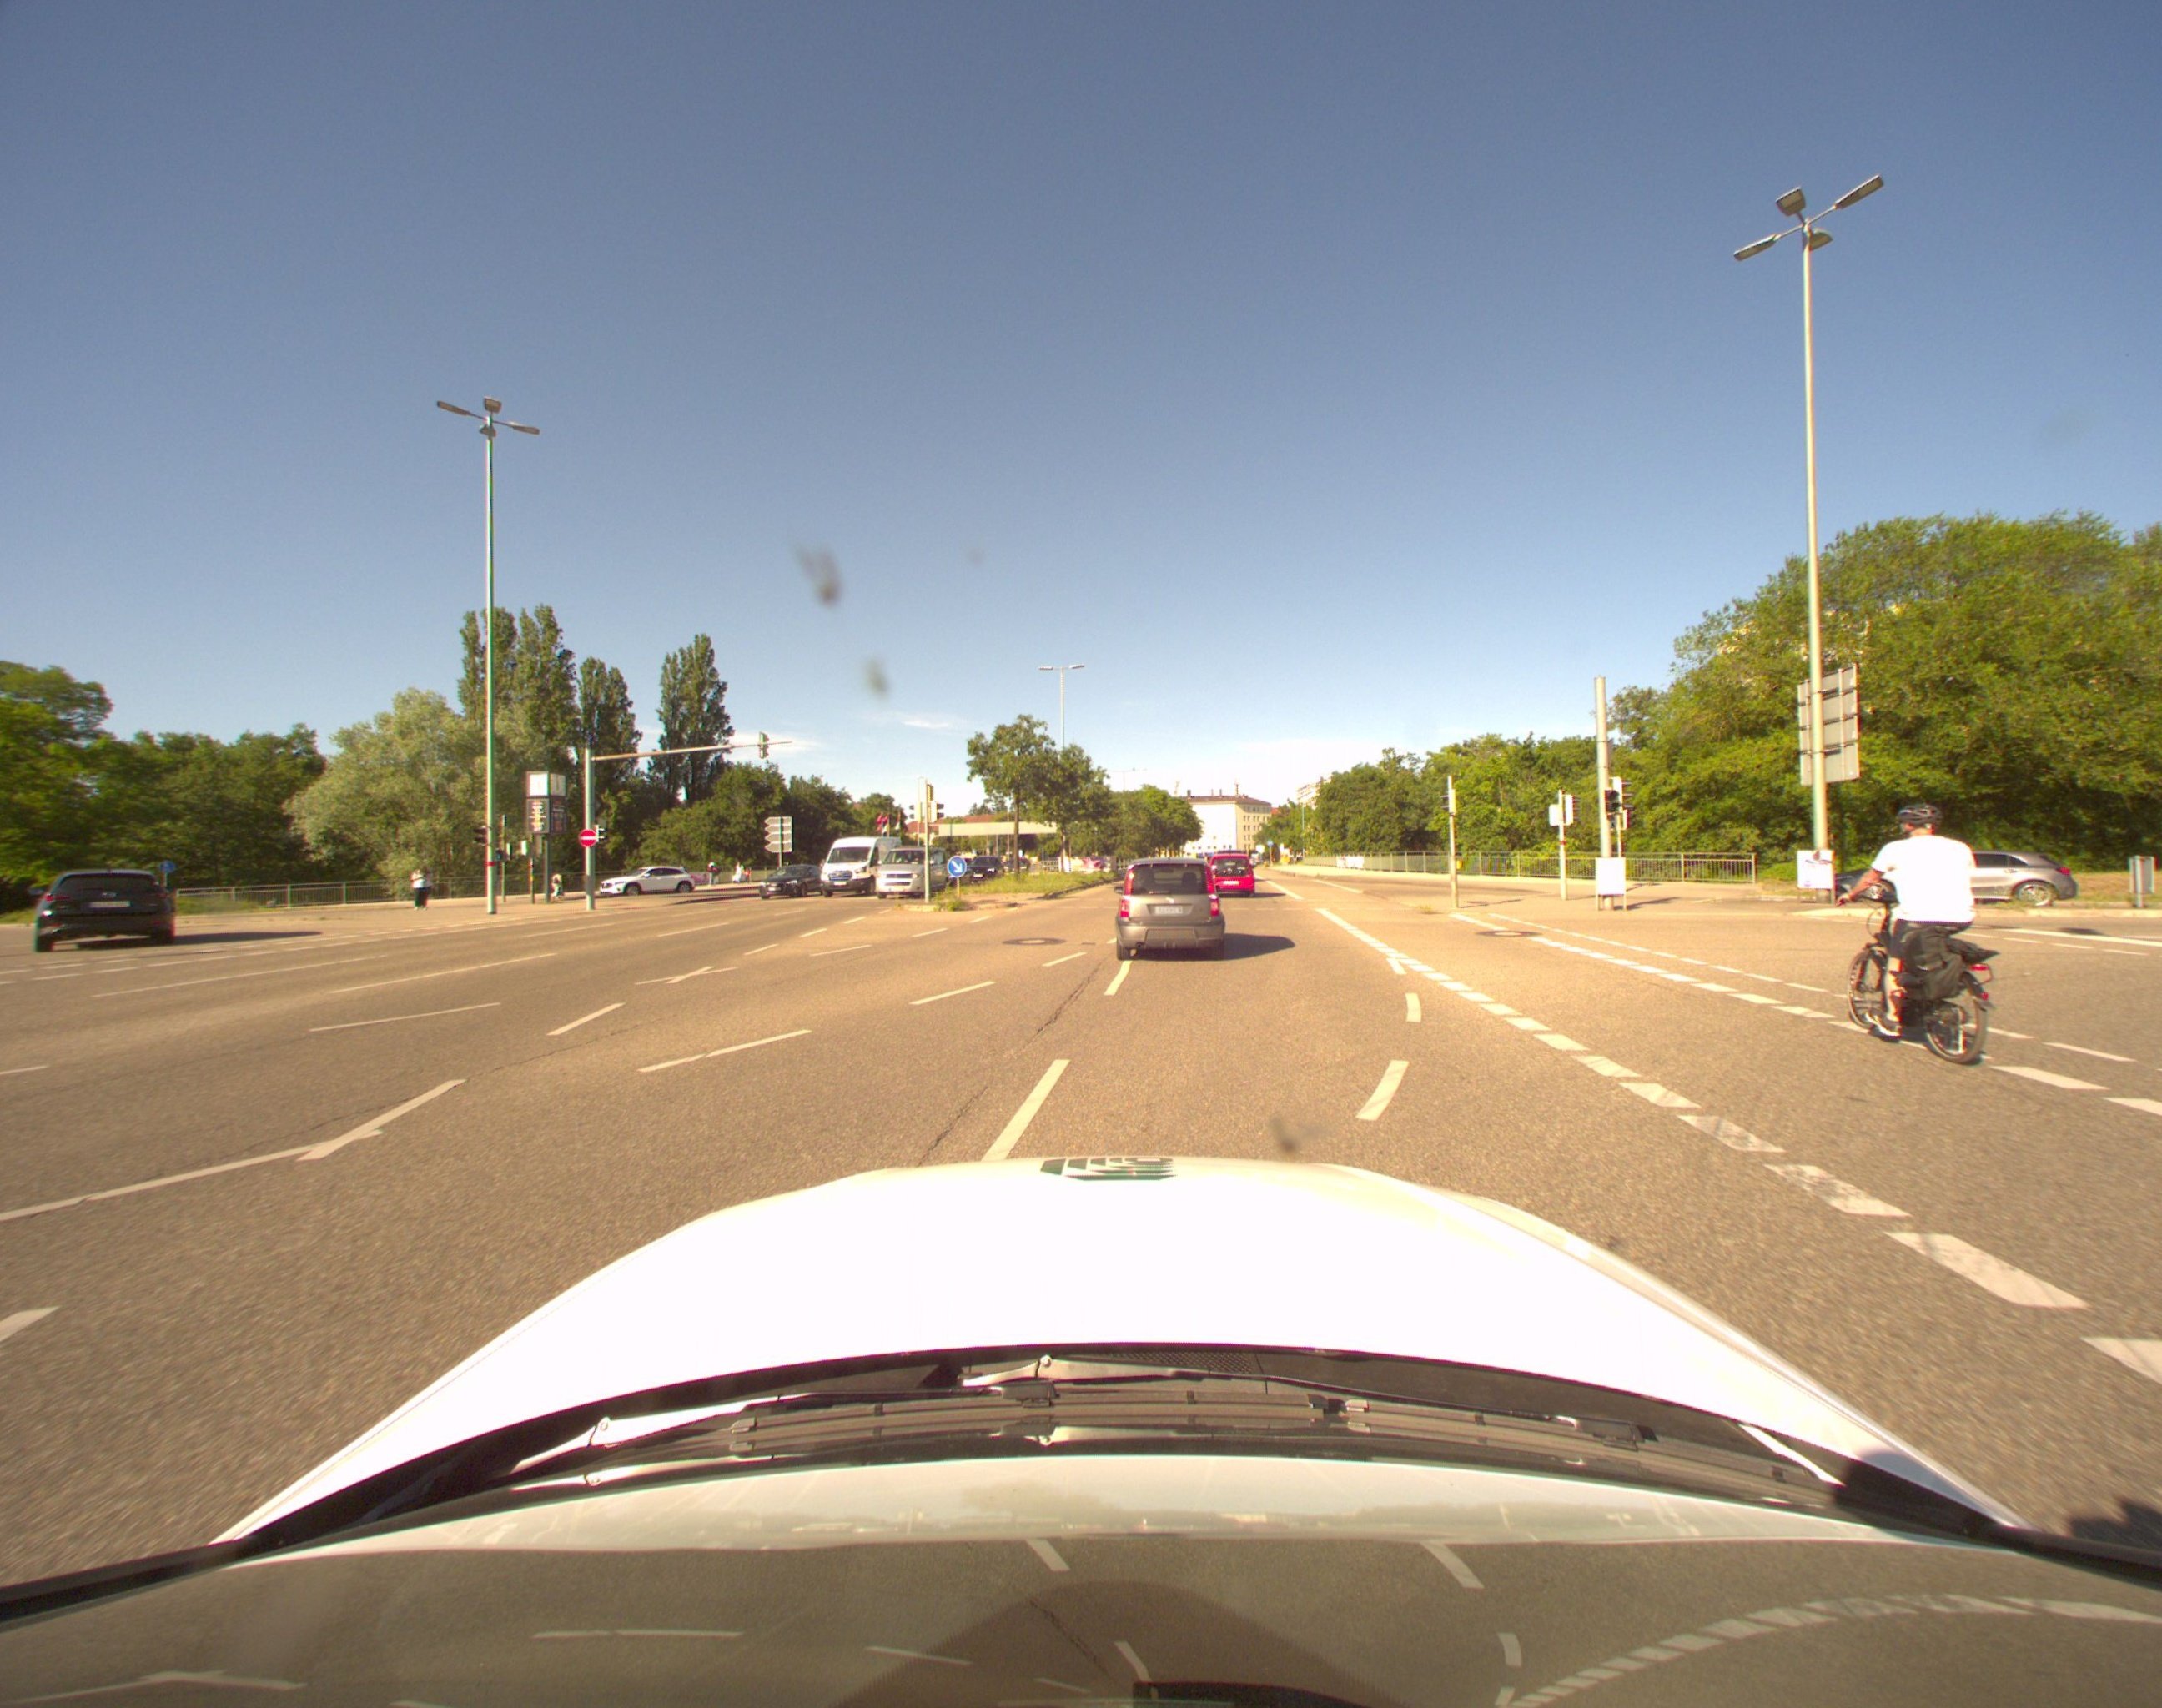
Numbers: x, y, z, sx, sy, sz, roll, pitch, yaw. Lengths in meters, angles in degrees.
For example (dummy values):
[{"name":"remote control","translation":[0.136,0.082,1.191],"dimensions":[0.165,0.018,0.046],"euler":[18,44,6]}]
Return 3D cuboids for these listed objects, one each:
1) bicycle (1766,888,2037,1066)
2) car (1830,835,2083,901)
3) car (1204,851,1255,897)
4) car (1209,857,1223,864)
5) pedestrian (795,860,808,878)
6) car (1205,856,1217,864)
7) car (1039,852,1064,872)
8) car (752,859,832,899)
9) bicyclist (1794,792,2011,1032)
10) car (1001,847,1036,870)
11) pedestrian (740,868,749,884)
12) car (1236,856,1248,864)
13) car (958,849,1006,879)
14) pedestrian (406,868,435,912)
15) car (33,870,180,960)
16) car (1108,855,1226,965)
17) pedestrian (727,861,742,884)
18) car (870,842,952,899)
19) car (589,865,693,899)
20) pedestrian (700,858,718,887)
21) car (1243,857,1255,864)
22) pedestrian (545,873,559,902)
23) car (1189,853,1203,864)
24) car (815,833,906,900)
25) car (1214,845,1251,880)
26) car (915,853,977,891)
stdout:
[{"name":"bicycle","translation":[6.254,0.856,6.369],"dimensions":[0.686,1.102,1.834],"euler":[0,0,16]},{"name":"car","translation":[22.457,0.348,21.186],"dimensions":[4.190,1.552,1.873],"euler":[-1,0,37]},{"name":"car","translation":[5.157,0.650,28.543],"dimensions":[1.608,1.463,3.760],"euler":[-1,0,9]},{"name":"car","translation":[30.850,1.517,185.896],"dimensions":[1.927,1.528,4.121],"euler":[-1,0,25]},{"name":"pedestrian","translation":[-24.195,1.297,70.582],"dimensions":[0.664,1.503,0.783],"euler":[-1,-3,22]},{"name":"car","translation":[28.376,1.309,177.988],"dimensions":[1.929,1.528,4.117],"euler":[-1,0,19]},{"name":"car","translation":[-3.051,0.830,85.622],"dimensions":[1.984,2.014,4.340],"euler":[-2,-1,5]},{"name":"car","translation":[-12.381,1.029,35.145],"dimensions":[1.930,1.507,3.999],"euler":[-3,0,0]},{"name":"bicyclist","translation":[6.238,0.405,6.270],"dimensions":[0.718,1.659,1.118],"euler":[0,-1,16]},{"name":"car","translation":[-4.695,0.335,61.496],"dimensions":[1.928,1.622,4.511],"euler":[-1,0,4]},{"name":"pedestrian","translation":[-24.334,1.614,58.884],"dimensions":[0.421,1.136,0.398],"euler":[0,-2,7]},{"name":"car","translation":[35.875,1.348,181.298],"dimensions":[1.849,1.681,3.929],"euler":[-1,-2,22]},{"name":"car","translation":[-5.709,0.576,47.485],"dimensions":[1.928,1.622,4.511],"euler":[-1,0,4]},{"name":"pedestrian","translation":[-23.753,1.282,29.281],"dimensions":[0.714,1.547,0.721],"euler":[-1,-1,-33]},{"name":"car","translation":[-21.368,1.239,17.819],"dimensions":[4.142,1.709,1.892],"euler":[-1,-1,37]},{"name":"car","translation":[1.389,0.786,13.355],"dimensions":[1.609,1.515,3.825],"euler":[-1,0,5]},{"name":"pedestrian","translation":[-25.039,1.337,58.869],"dimensions":[0.716,1.641,0.674],"euler":[0,-2,7]},{"name":"car","translation":[-6.530,0.591,31.850],"dimensions":[1.929,2.008,4.935],"euler":[-1,0,3]},{"name":"car","translation":[-22.292,1.371,41.394],"dimensions":[1.762,1.535,4.356],"euler":[0,0,31]},{"name":"pedestrian","translation":[-25.410,1.263,55.640],"dimensions":[0.801,1.997,0.789],"euler":[0,-2,7]},{"name":"car","translation":[39.047,1.523,189.154],"dimensions":[1.849,1.681,3.930],"euler":[-1,-2,24]},{"name":"pedestrian","translation":[-28.698,1.827,44.180],"dimensions":[0.560,1.547,0.570],"euler":[-1,-2,-33]},{"name":"car","translation":[17.373,0.656,123.094],"dimensions":[1.933,1.528,4.109],"euler":[-1,0,10]},{"name":"car","translation":[-9.264,0.489,34.857],"dimensions":[1.929,2.576,6.093],"euler":[-1,0,3]},{"name":"car","translation":[8.329,0.475,44.959],"dimensions":[1.934,1.840,4.163],"euler":[0,-1,9]},{"name":"car","translation":[-6.308,0.799,38.452],"dimensions":[1.929,1.622,4.509],"euler":[-1,0,3]}]
